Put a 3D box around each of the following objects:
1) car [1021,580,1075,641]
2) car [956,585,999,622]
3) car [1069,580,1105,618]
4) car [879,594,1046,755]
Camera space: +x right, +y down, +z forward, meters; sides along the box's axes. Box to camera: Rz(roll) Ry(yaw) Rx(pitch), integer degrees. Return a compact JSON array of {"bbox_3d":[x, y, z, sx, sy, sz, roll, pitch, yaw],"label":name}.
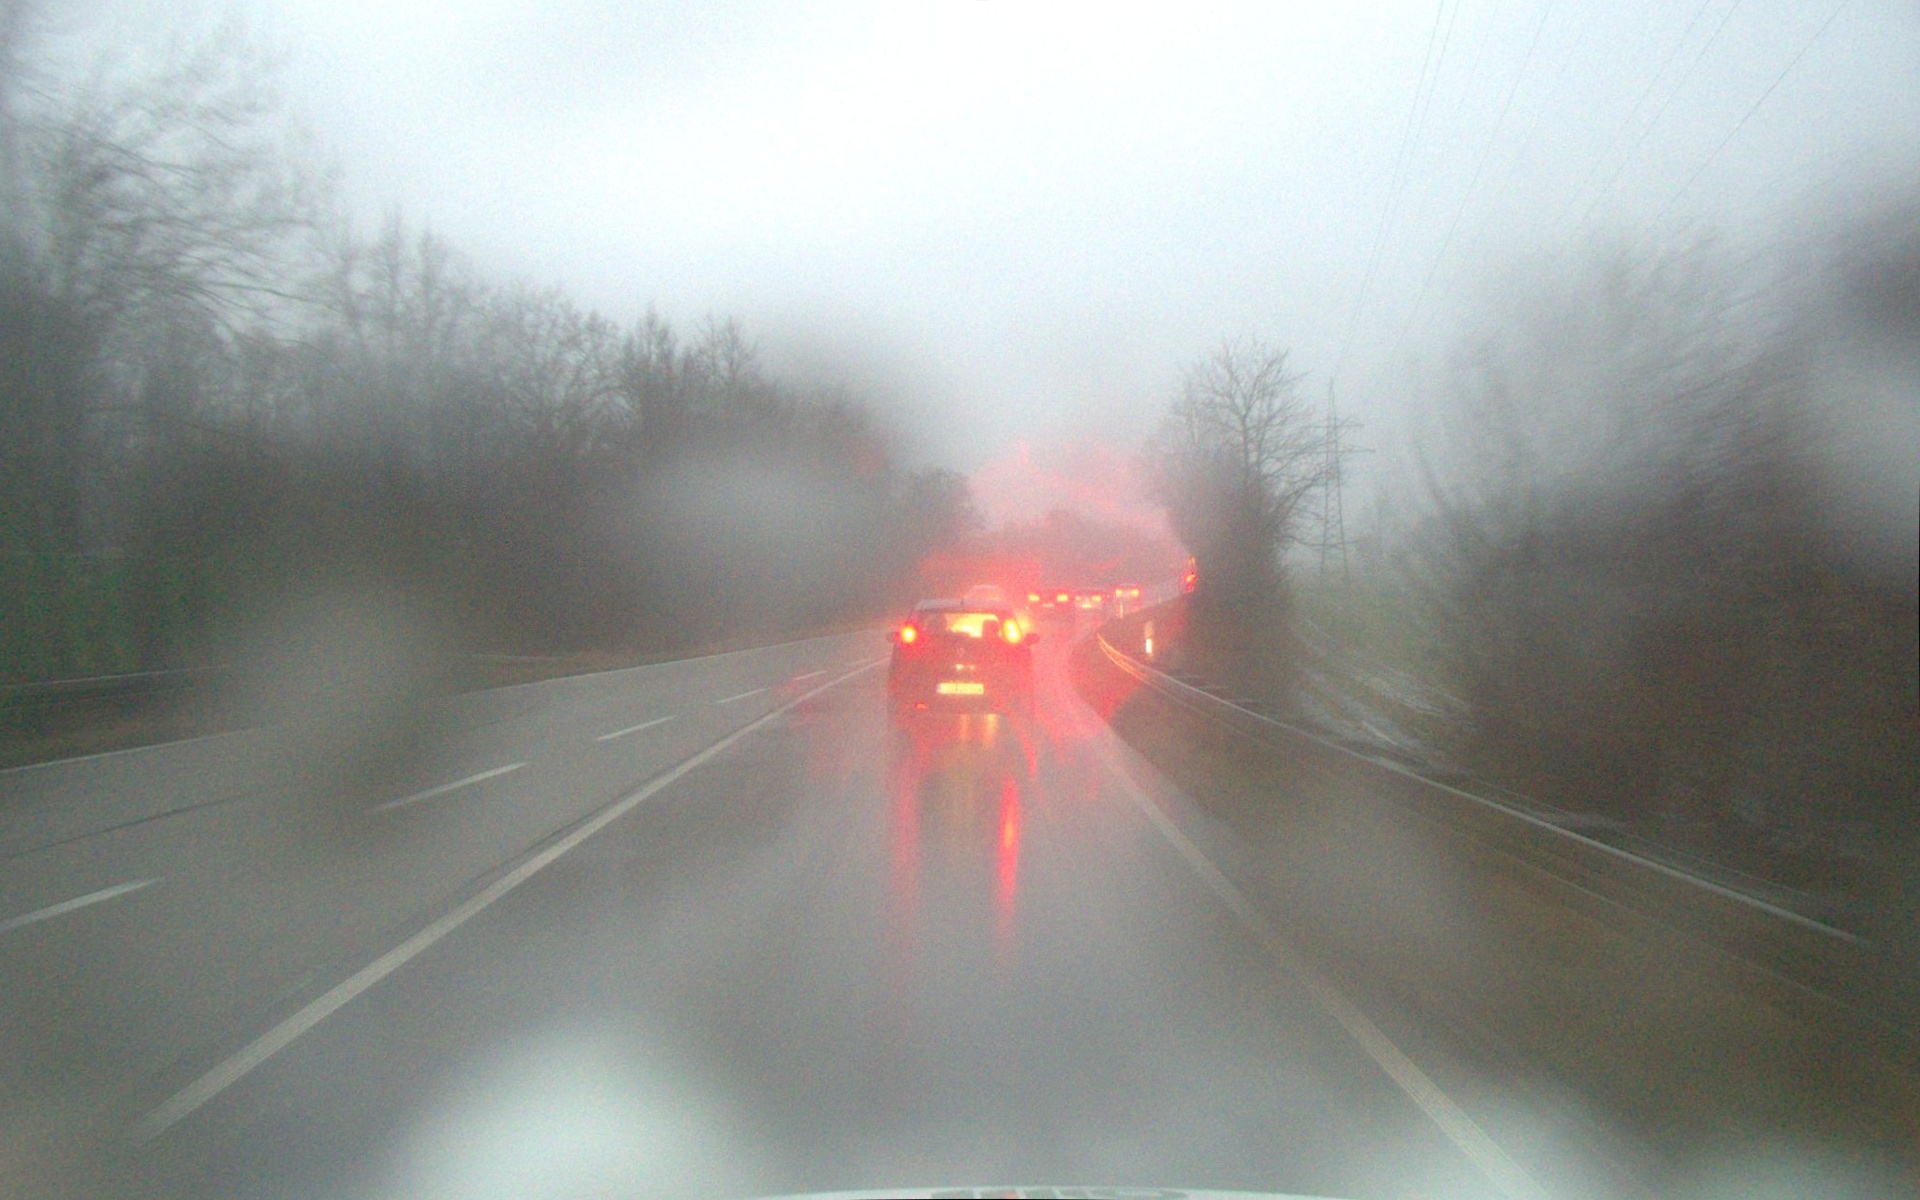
[{"bbox_3d":[3.493,0.388,66.135,1.906,2.047,4.002,-6,2,2],"label":"car"},{"bbox_3d":[0.804,0.151,74.663,1.664,1.603,4.002,0,0,4],"label":"car"},{"bbox_3d":[6.825,-0.075,88.670,1.905,1.774,4.004,0,3,5],"label":"car"},{"bbox_3d":[-0.046,0.791,19.703,1.696,1.559,4.041,-4,1,-2],"label":"car"}]
